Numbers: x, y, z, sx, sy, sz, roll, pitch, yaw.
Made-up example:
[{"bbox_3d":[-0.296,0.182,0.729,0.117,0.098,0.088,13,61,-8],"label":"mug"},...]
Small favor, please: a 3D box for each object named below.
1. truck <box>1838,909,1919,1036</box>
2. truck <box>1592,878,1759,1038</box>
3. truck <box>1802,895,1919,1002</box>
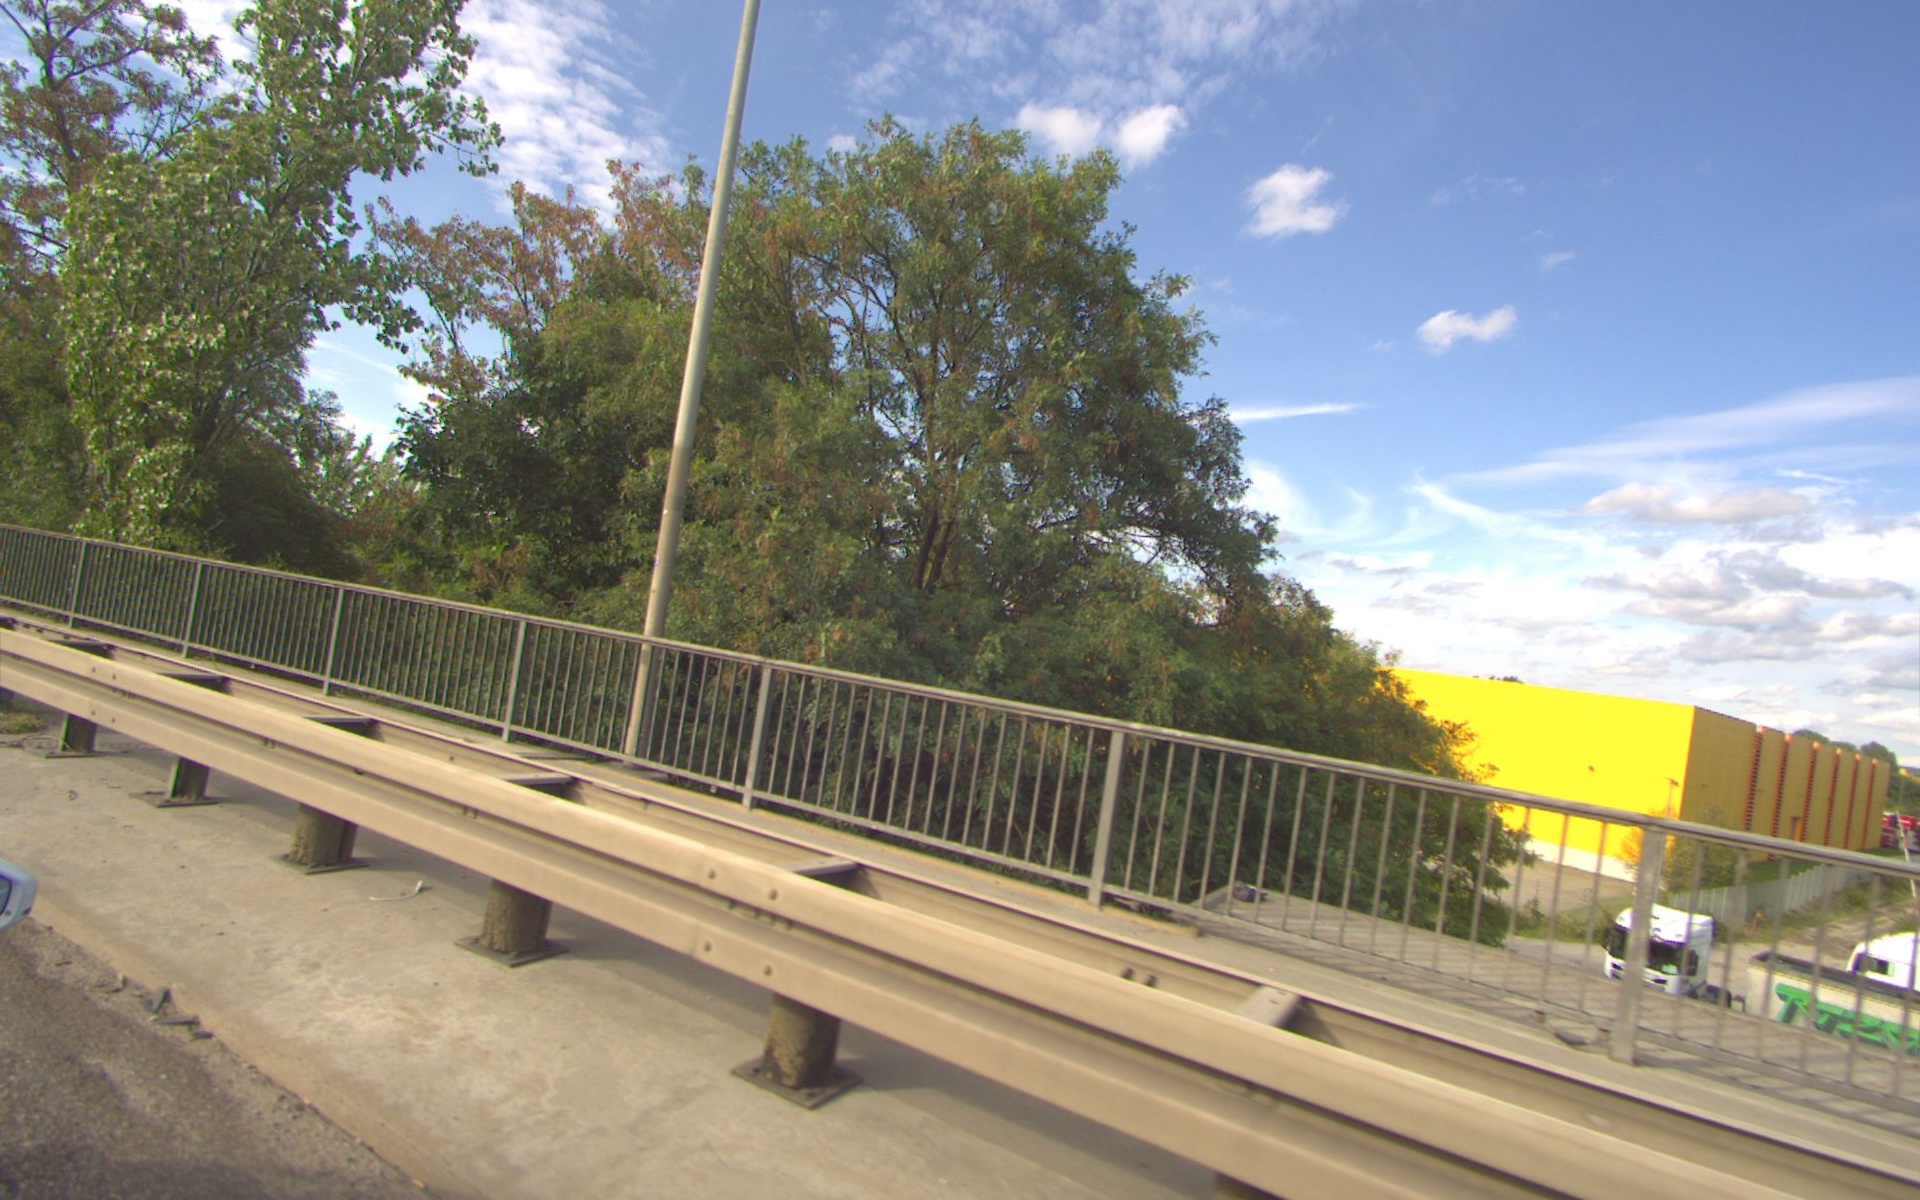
[{"bbox_3d":[40.617,15.910,43.423,7.179,3.663,2.636,8,1,-40],"label":"truck"},{"bbox_3d":[27.274,13.282,38.133,8.556,4.142,2.636,8,1,-40],"label":"truck"},{"bbox_3d":[44.677,16.712,46.334,2.024,3.422,8.512,7,1,-43],"label":"truck"}]
